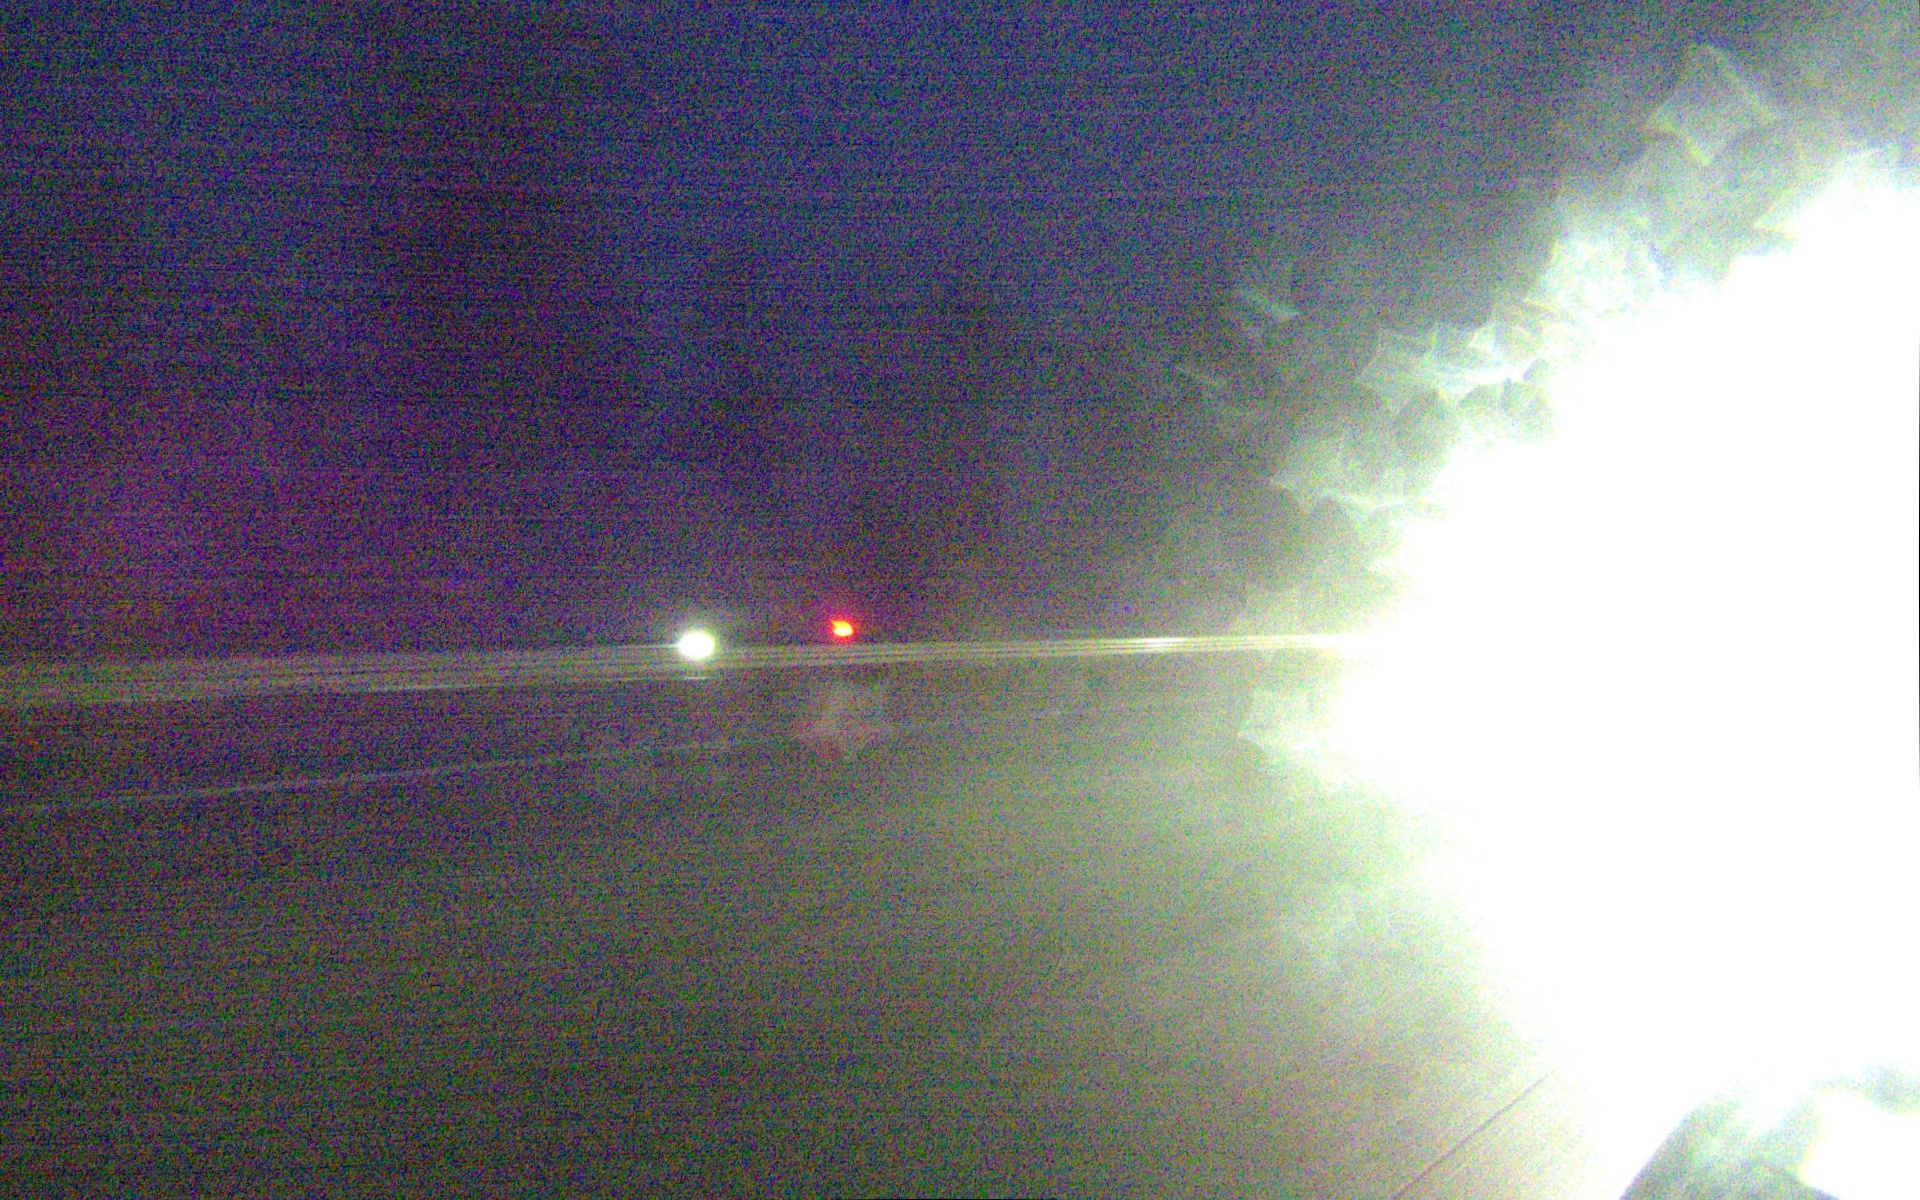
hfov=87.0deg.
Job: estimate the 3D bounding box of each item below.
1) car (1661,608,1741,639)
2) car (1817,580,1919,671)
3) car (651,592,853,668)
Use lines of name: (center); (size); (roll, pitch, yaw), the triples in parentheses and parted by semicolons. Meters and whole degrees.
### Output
car: (40.217, 1.273, 54.923); (3.920, 1.571, 2.001); (0, -4, -30)
car: (18.486, 0.517, 19.807); (3.611, 1.646, 1.847); (1, -4, -38)
car: (-5.972, 0.865, 29.162); (5.336, 2.040, 2.072); (0, -3, -26)
